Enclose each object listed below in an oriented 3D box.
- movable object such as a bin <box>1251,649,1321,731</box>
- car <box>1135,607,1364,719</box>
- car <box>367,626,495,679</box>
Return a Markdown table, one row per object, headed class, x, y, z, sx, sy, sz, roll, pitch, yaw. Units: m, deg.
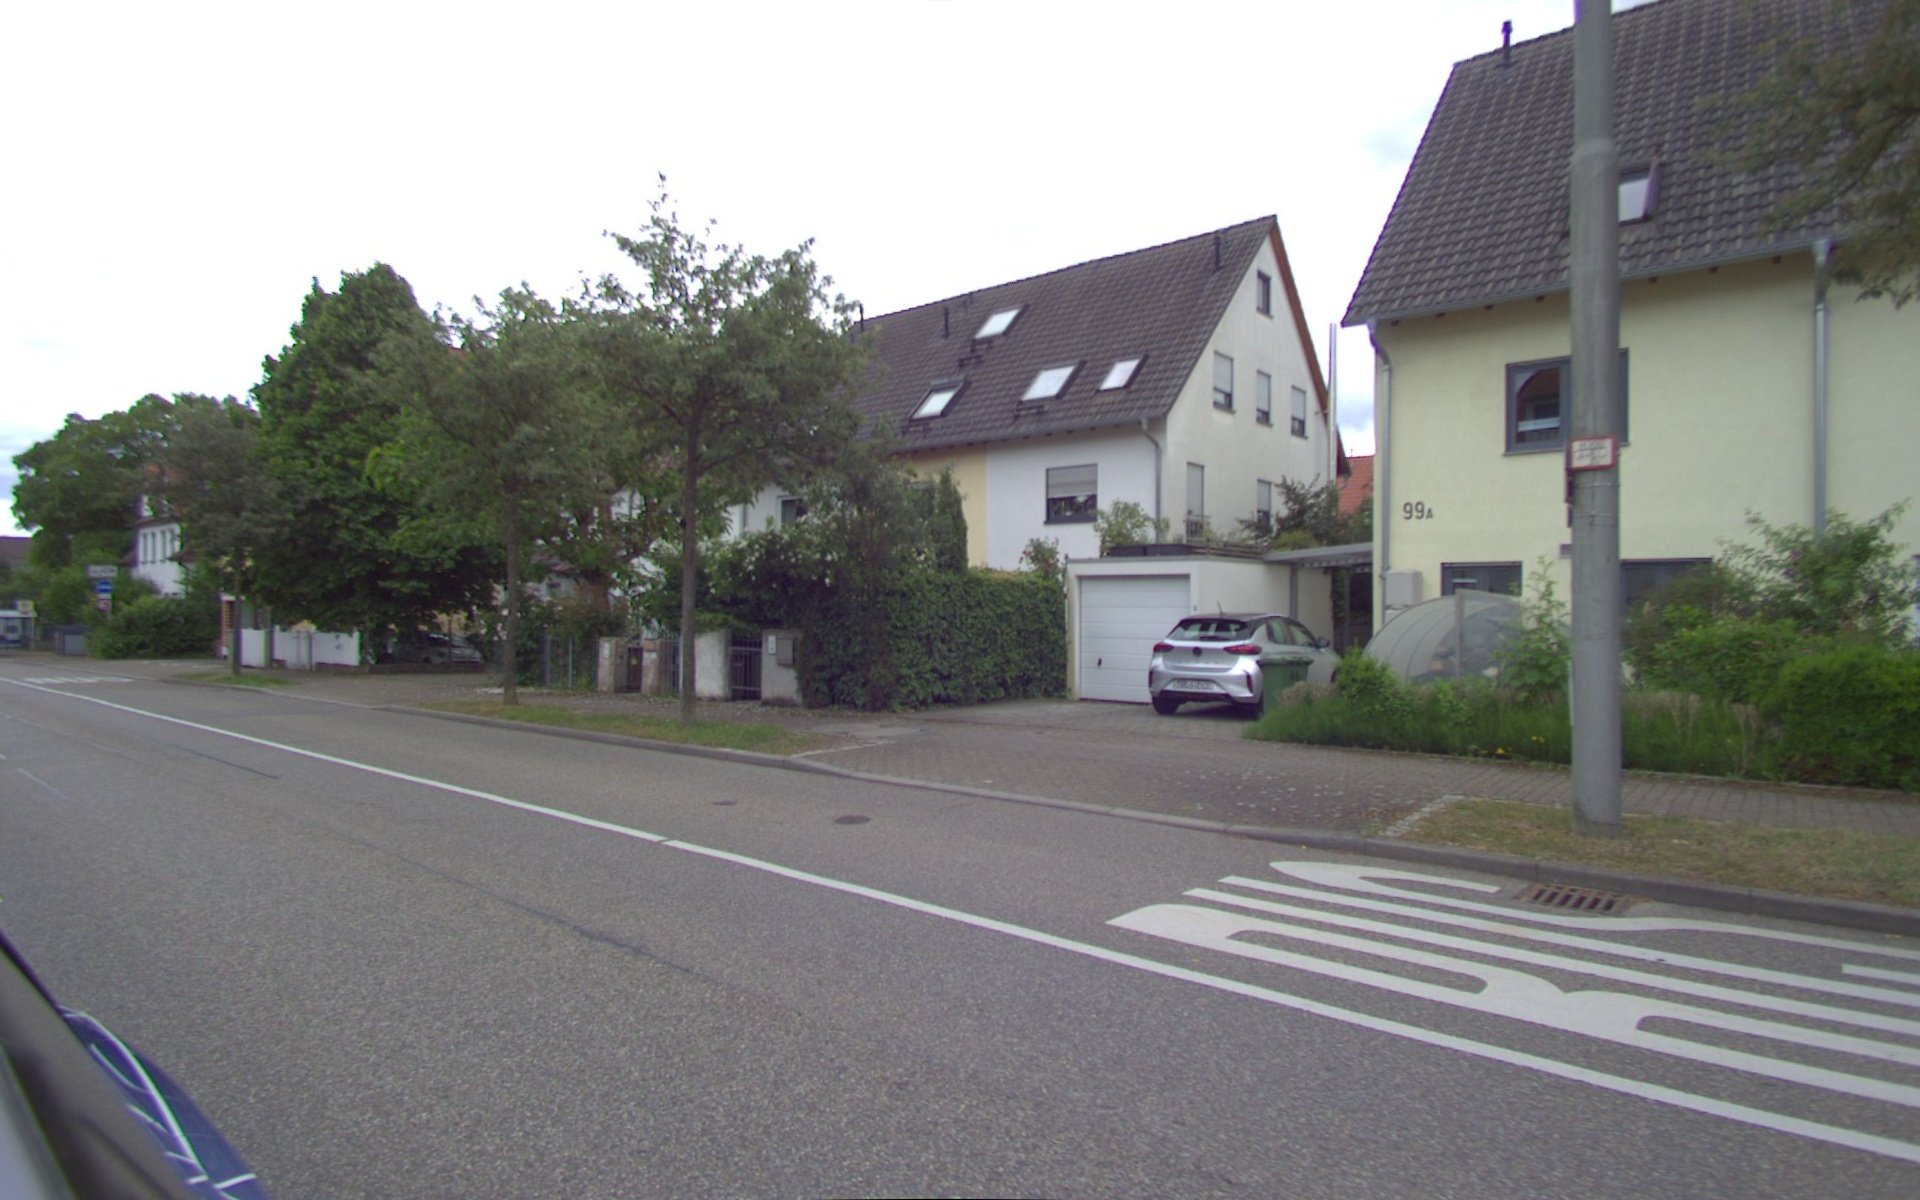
| class | x | y | z | sx | sy | sz | roll | pitch | yaw |
| --- | --- | --- | --- | --- | --- | --- | --- | --- | --- |
| movable object such as a bin | 3.748 | 1.023 | 11.655 | 0.569 | 0.908 | 0.547 | 0 | -1 | -7 |
| car | 4.323 | 0.803 | 14.719 | 1.754 | 1.296 | 4.026 | -1 | 0 | 39 |
| car | -16.957 | 1.679 | 32.340 | 4.610 | 1.576 | 1.789 | -2 | -4 | 37 |
